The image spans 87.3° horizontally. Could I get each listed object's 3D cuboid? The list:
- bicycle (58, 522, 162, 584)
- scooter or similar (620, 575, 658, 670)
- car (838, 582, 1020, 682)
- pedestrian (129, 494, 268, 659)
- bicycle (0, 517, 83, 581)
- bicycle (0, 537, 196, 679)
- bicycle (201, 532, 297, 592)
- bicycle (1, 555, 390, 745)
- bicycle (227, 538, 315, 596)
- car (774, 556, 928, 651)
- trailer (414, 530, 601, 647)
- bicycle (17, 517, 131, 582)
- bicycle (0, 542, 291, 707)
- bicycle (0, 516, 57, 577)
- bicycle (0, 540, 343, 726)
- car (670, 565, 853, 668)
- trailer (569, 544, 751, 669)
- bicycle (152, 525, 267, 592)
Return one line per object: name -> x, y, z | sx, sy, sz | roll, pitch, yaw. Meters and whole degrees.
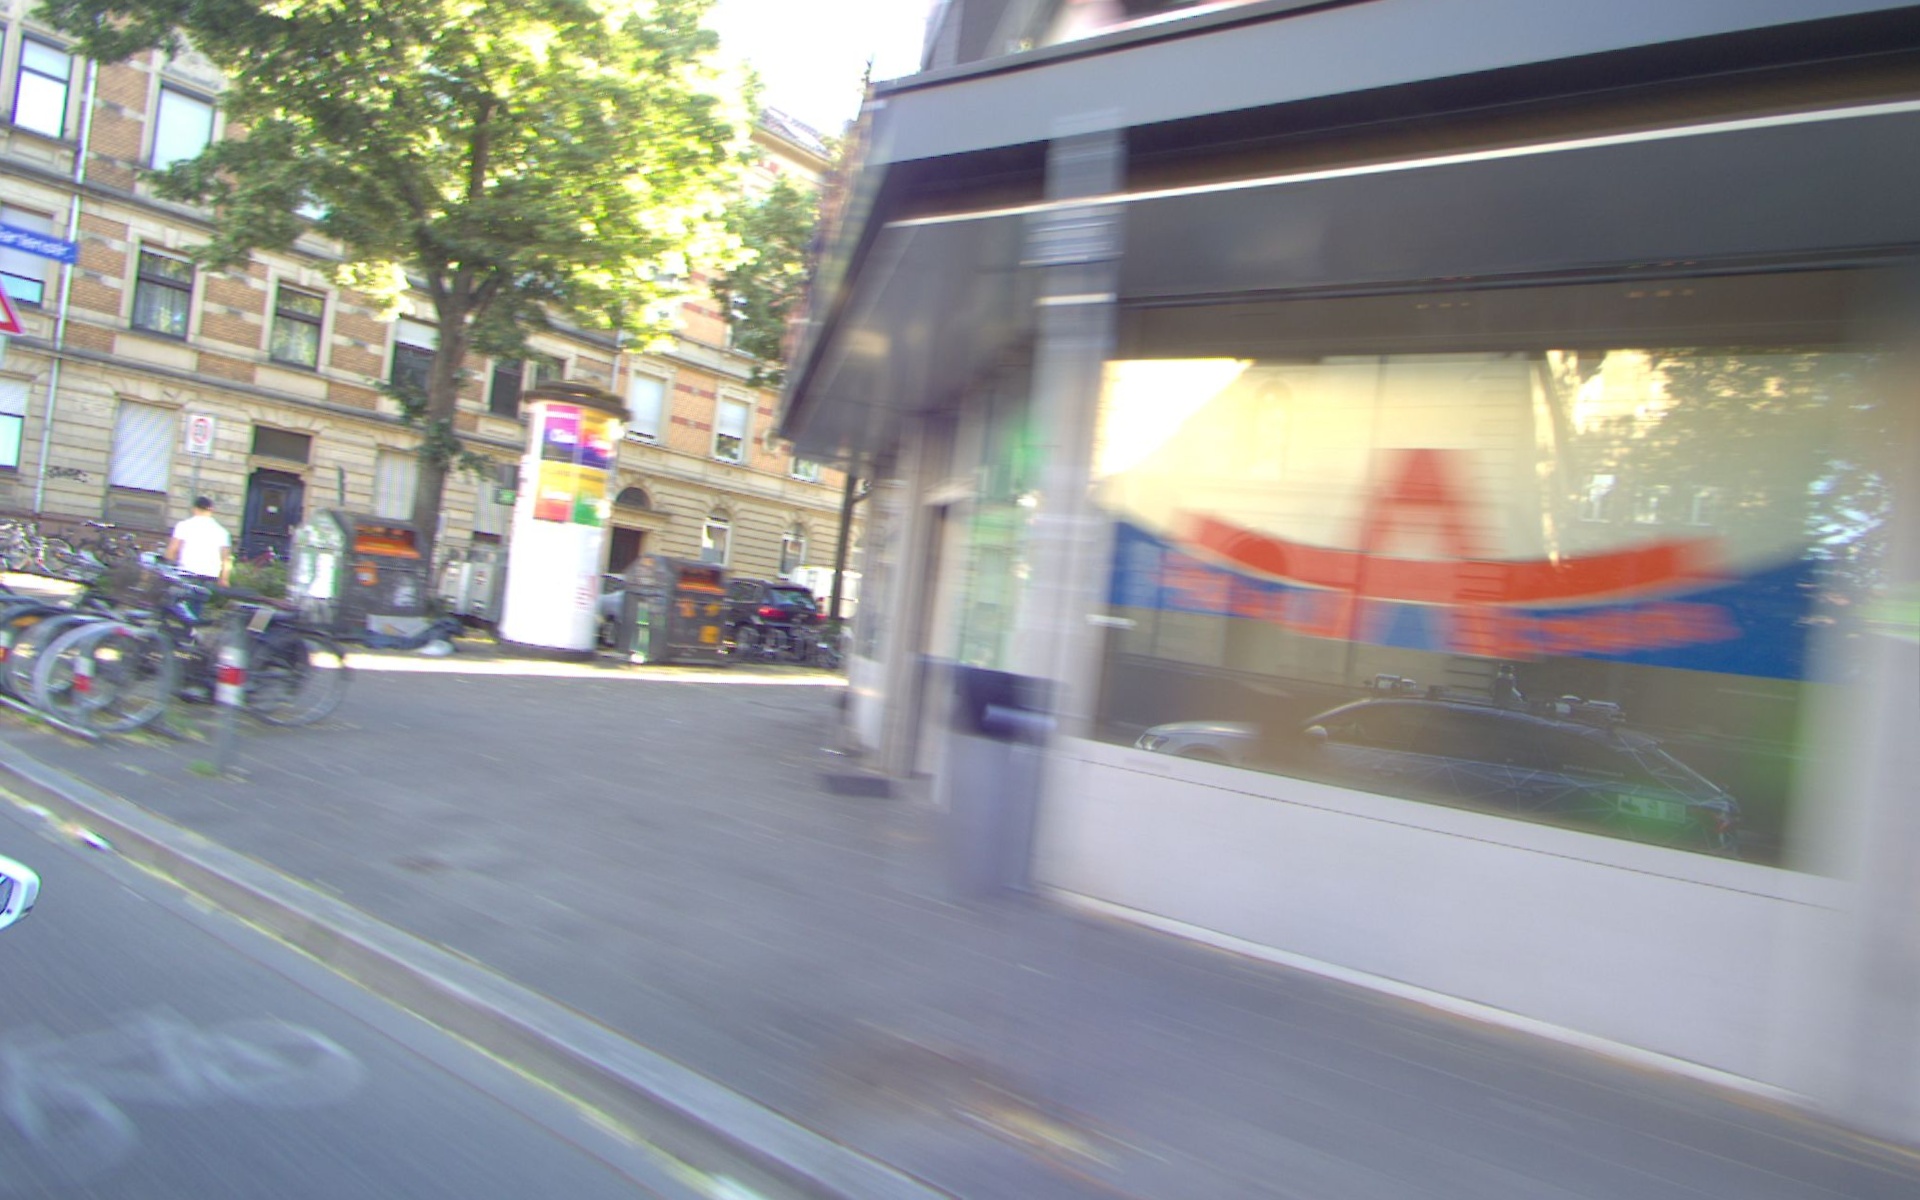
bicycle -> -17.685, -0.977, 20.942 | 1.871, 1.037, 0.497 | 7, -1, 11
scooter or similar -> -4.949, 0.341, 15.540 | 0.368, 1.359, 1.277 | 8, -2, -17
car -> -0.941, 0.775, 26.542 | 1.892, 2.074, 4.993 | 9, -3, -40
pedestrian -> -8.670, -0.262, 11.459 | 1.016, 1.686, 0.784 | 9, 1, 32
bicycle -> -18.277, -1.022, 19.799 | 1.871, 1.037, 0.418 | 7, 0, 13
bicycle -> -7.651, 0.061, 8.381 | 0.698, 1.066, 1.838 | 7, -2, 28
bicycle -> -16.599, -0.873, 23.490 | 1.919, 1.137, 0.447 | 7, 0, 7
bicycle -> -5.075, 0.370, 6.854 | 0.669, 1.059, 1.918 | 7, -2, 28
bicycle -> -16.367, -0.780, 23.893 | 1.871, 1.137, 0.405 | 7, 0, 11
car -> -3.632, 0.169, 34.359 | 1.948, 2.547, 4.852 | 6, -3, 44
trailer -> -8.837, -0.261, 19.500 | 1.961, 1.754, 3.882 | 7, 1, -45
bicycle -> -18.055, -1.018, 20.503 | 1.872, 1.052, 0.464 | 7, -1, 3
bicycle -> -6.243, 0.217, 7.540 | 0.705, 1.066, 1.838 | 7, -2, 28
bicycle -> -18.485, -1.078, 19.447 | 1.871, 1.037, 0.453 | 7, -1, 13
bicycle -> -5.627, 0.265, 7.174 | 0.604, 1.118, 1.974 | 7, -1, 28
car -> -4.416, 0.327, 22.089 | 3.883, 1.751, 1.963 | 5, -3, 45
trailer -> -5.375, 0.089, 17.876 | 3.142, 1.907, 1.572 | 5, 0, 42
bicycle -> -16.761, -0.921, 22.493 | 2.067, 1.196, 0.616 | 7, -1, 5
